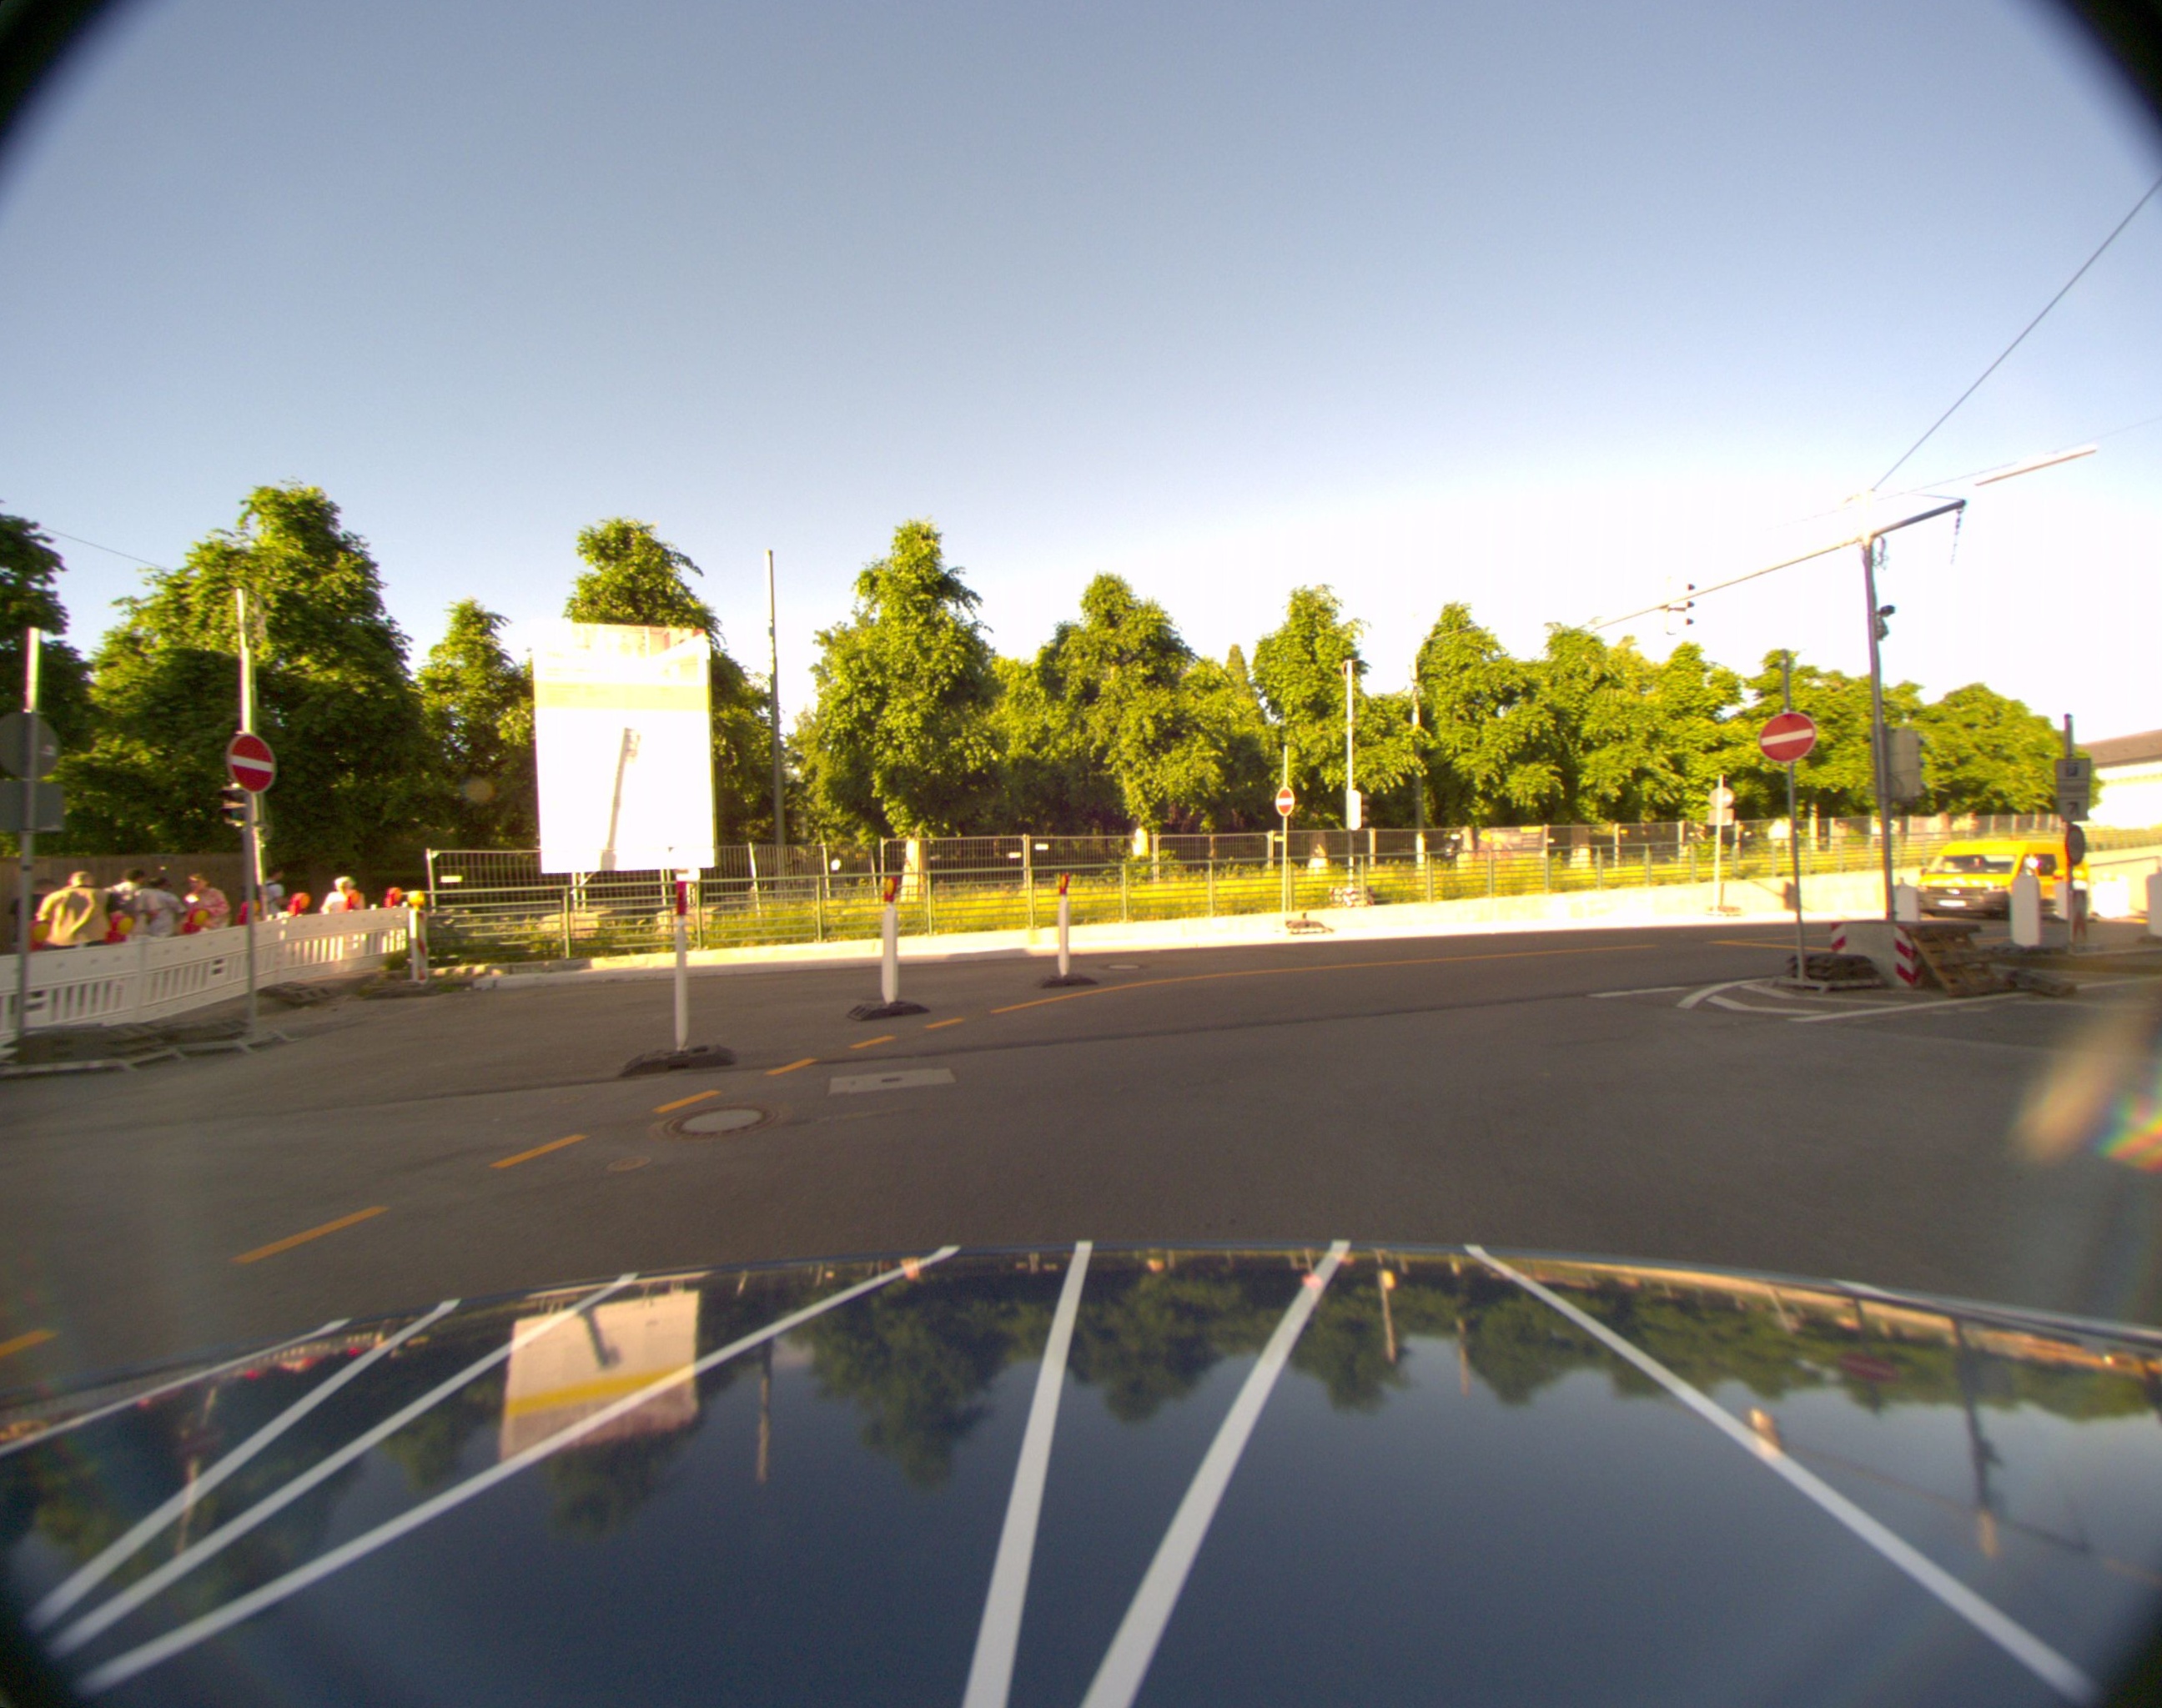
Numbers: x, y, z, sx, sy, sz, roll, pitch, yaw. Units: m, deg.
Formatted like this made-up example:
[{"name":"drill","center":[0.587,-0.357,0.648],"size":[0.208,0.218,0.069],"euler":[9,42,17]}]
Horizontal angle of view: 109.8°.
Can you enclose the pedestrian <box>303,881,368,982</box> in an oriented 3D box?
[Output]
[{"name":"pedestrian","center":[-12.233,1.240,12.466],"size":[0.743,1.557,0.667],"euler":[1,2,42]}]

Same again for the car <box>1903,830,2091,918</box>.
[{"name":"car","center":[29.944,0.661,24.783],"size":[6.996,2.609,2.115],"euler":[1,-1,-24]}]

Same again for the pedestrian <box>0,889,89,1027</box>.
[{"name":"pedestrian","center":[-14.342,1.392,10.302],"size":[0.724,1.761,0.738],"euler":[-1,2,-14]}]

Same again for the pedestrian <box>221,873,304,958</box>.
[{"name":"pedestrian","center":[-14.857,1.095,13.814],"size":[0.666,1.454,0.770],"euler":[-1,2,-14]}]

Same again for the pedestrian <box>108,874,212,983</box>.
[{"name":"pedestrian","center":[-14.467,1.146,11.959],"size":[0.666,1.609,0.770],"euler":[-1,2,-14]}]

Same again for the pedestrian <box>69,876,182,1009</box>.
[{"name":"pedestrian","center":[-13.474,1.215,10.739],"size":[0.622,1.761,0.738],"euler":[-1,2,-14]}]

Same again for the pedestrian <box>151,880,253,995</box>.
[{"name":"pedestrian","center":[-13.055,1.210,11.311],"size":[0.644,1.595,0.738],"euler":[-1,2,-14]}]

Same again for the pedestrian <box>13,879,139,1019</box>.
[{"name":"pedestrian","center":[-13.108,1.207,9.940],"size":[0.622,1.706,0.738],"euler":[-1,2,-14]}]
